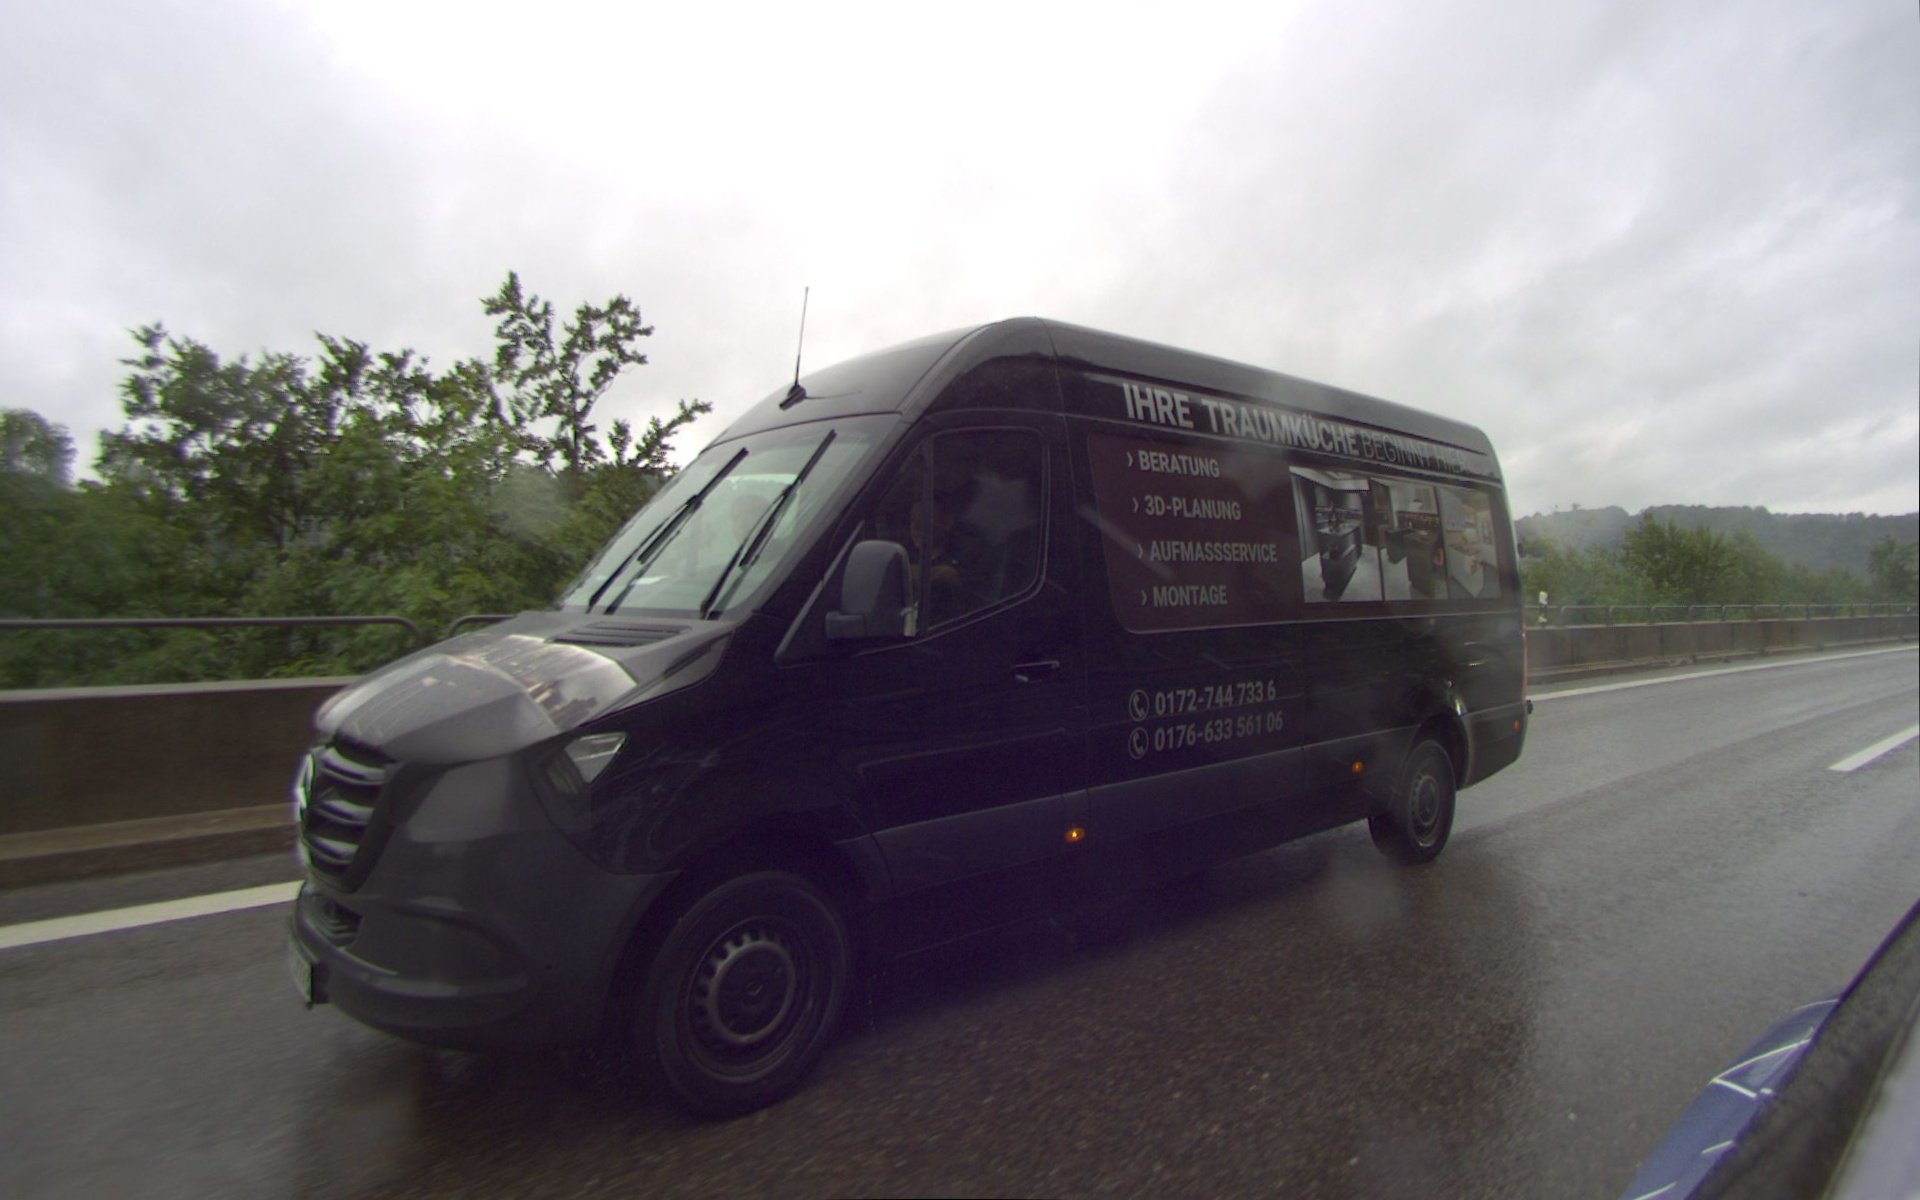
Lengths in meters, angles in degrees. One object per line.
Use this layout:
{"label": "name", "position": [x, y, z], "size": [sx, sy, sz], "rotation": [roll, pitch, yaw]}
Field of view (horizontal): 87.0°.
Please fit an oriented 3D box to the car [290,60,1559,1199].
{"label": "car", "position": [0.701, 0.091, 5.075], "size": [6.588, 2.525, 1.997], "rotation": [0, 1, -41]}
